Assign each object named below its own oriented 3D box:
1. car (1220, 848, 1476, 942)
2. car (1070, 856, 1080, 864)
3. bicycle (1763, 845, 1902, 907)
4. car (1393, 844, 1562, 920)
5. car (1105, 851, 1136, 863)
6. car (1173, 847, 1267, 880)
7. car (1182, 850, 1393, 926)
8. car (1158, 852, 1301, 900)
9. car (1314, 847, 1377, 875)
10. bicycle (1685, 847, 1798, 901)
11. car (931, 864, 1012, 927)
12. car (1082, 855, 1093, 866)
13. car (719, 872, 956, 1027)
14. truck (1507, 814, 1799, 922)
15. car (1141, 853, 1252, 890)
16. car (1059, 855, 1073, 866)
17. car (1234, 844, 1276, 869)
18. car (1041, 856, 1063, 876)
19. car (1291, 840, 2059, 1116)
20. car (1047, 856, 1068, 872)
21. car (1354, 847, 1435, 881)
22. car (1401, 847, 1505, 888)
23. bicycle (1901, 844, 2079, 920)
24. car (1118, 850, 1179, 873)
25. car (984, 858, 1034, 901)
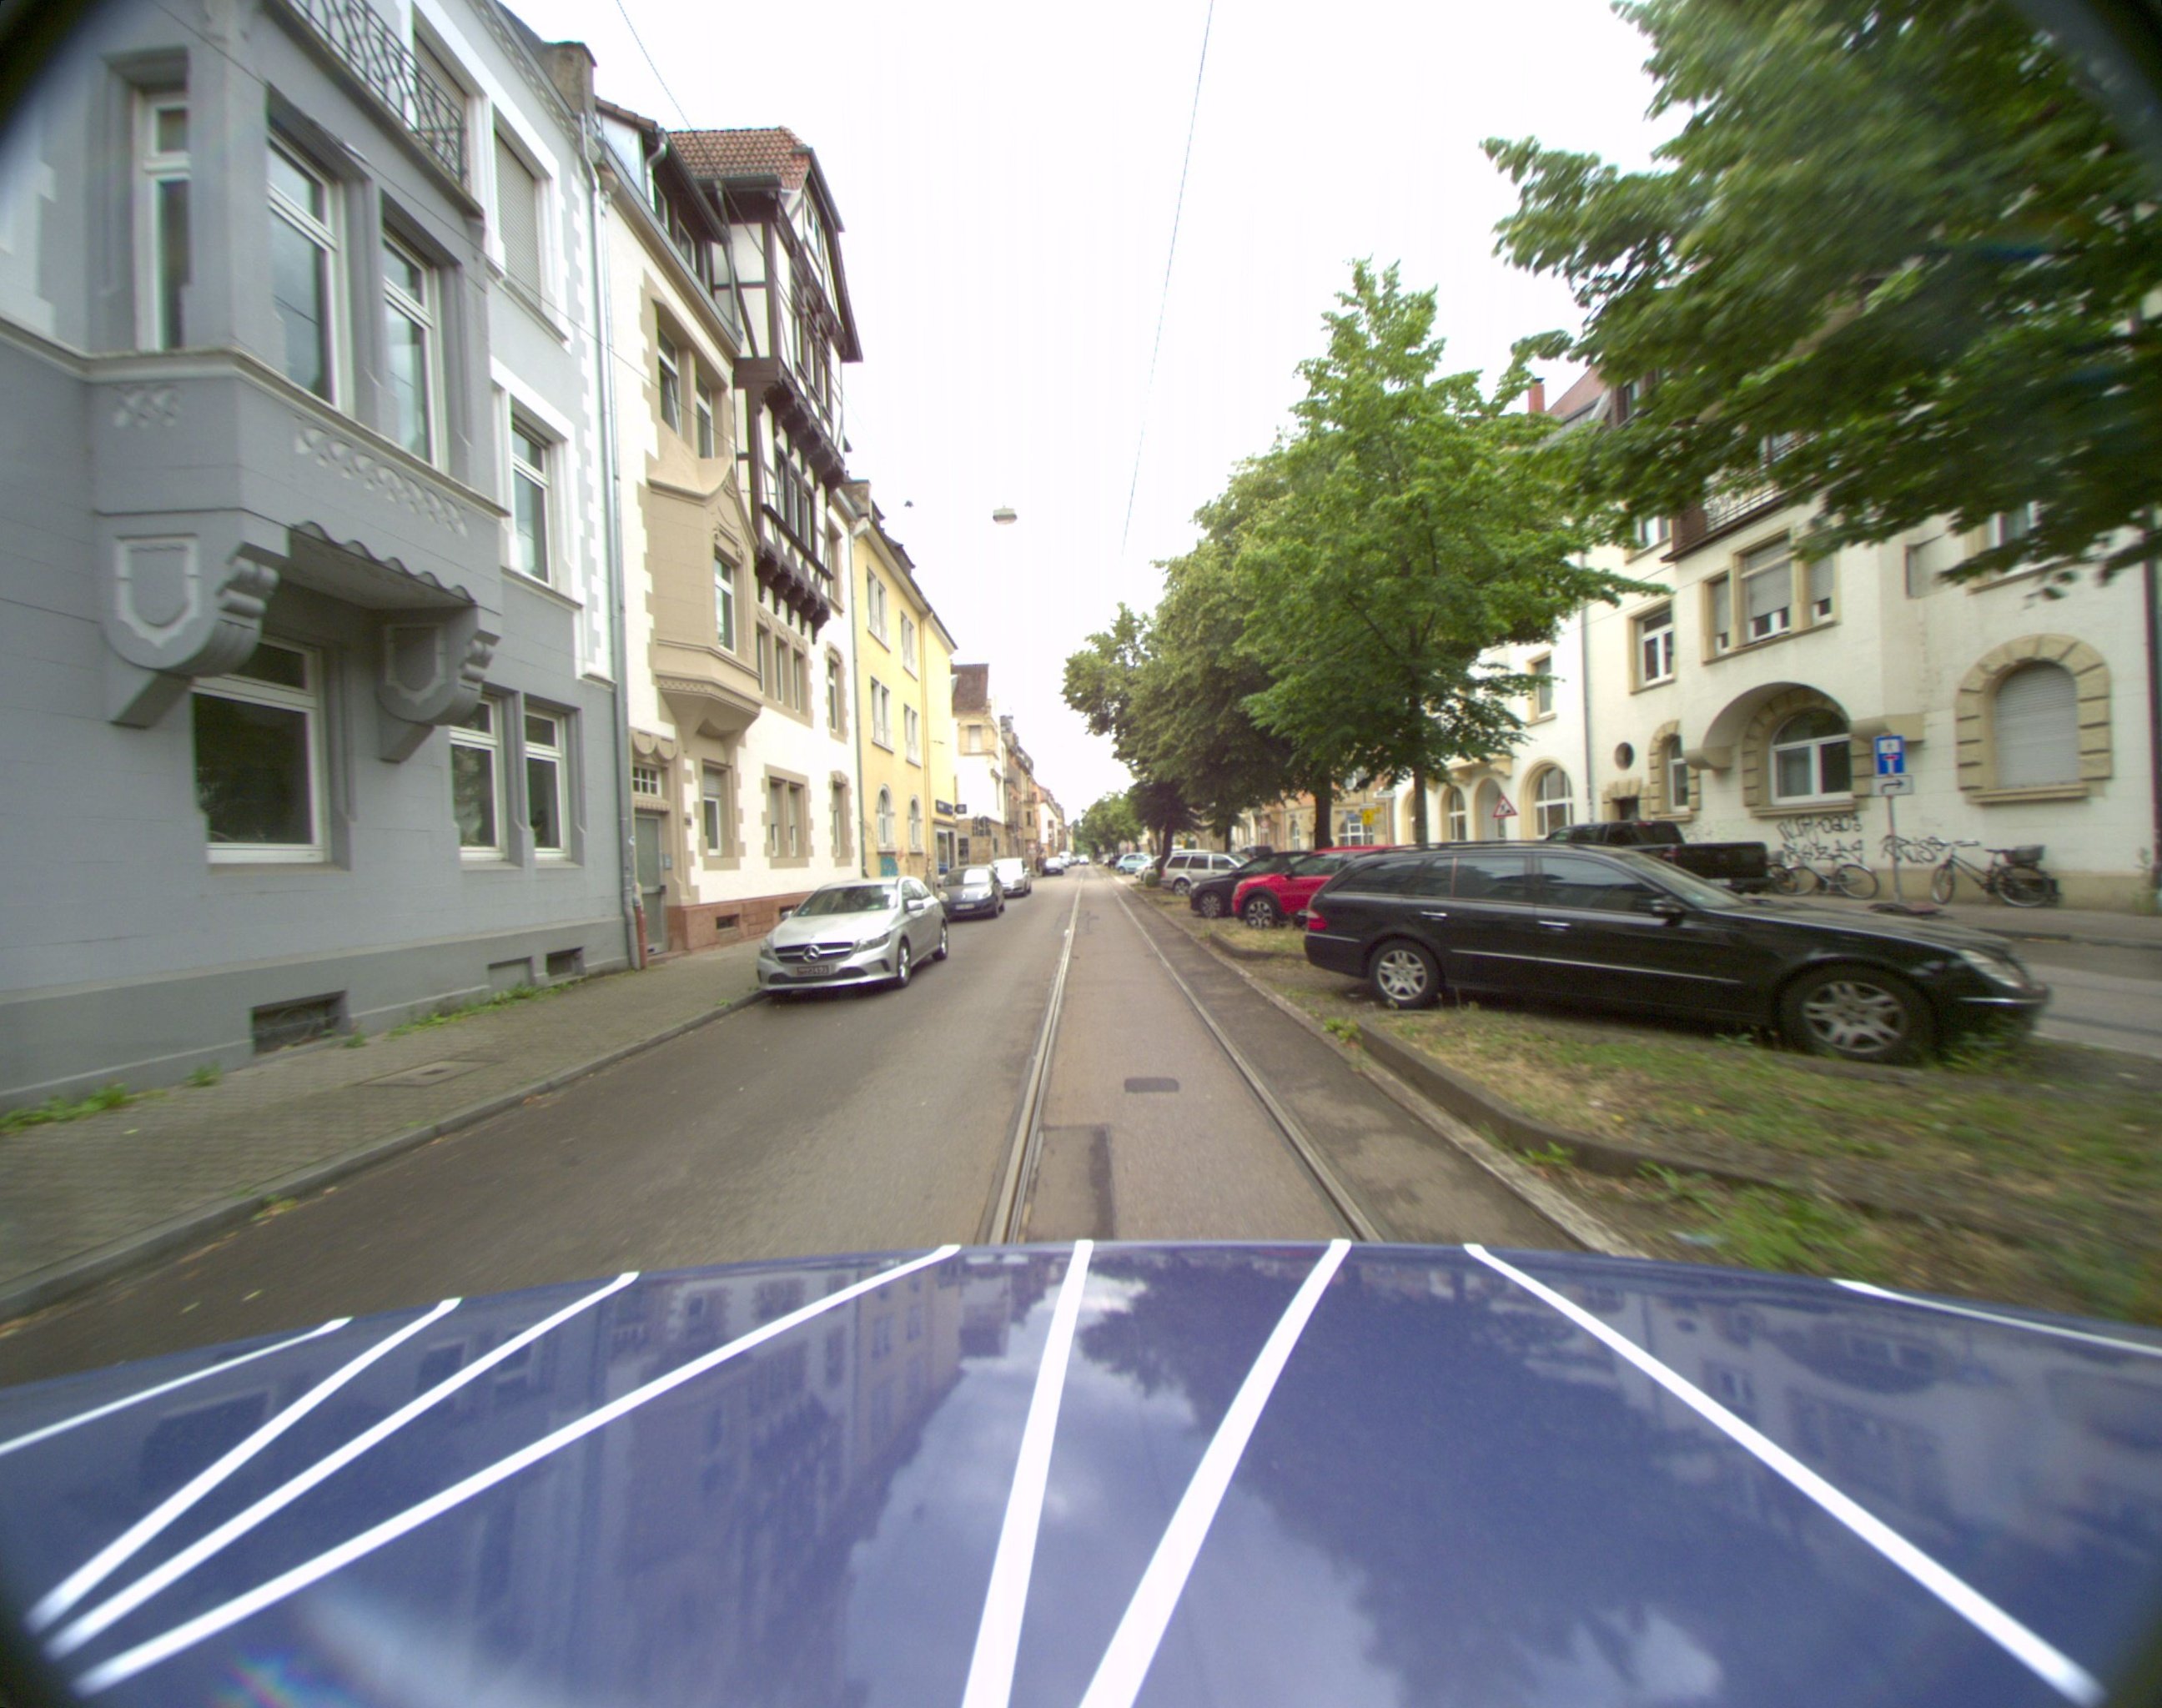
[{"bbox_3d":[4.510,0.664,13.153,3.727,1.380,1.793,-3,-1,44],"label":"car"},{"bbox_3d":[-1.144,1.190,146.319,1.824,1.477,4.000,-3,0,0],"label":"car"},{"bbox_3d":[14.995,0.424,15.236,0.613,1.120,1.914,-5,0,-11],"label":"bicycle"},{"bbox_3d":[9.197,0.586,18.135,1.763,1.500,4.695,-3,0,3],"label":"car"},{"bbox_3d":[5.628,0.429,107.725,3.991,1.602,1.901,-2,-1,22],"label":"car"},{"bbox_3d":[6.496,0.477,35.541,3.991,1.407,1.901,-2,-1,21],"label":"car"},{"bbox_3d":[4.413,0.705,16.581,3.989,1.458,1.902,-3,-1,44],"label":"car"},{"bbox_3d":[4.653,0.706,24.083,3.989,1.407,1.902,-2,-1,39],"label":"car"},{"bbox_3d":[12.163,0.311,35.135,1.639,1.169,3.380,-3,0,-1],"label":"car"},{"bbox_3d":[14.984,0.445,17.304,0.613,1.120,1.914,-5,0,-11],"label":"bicycle"},{"bbox_3d":[-3.079,1.114,22.157,1.635,1.478,4.213,-5,0,0],"label":"car"},{"bbox_3d":[1.180,1.300,146.220,1.998,2.002,3.999,-2,1,0],"label":"car"},{"bbox_3d":[-3.111,1.144,10.736,1.793,1.504,4.214,-5,0,1],"label":"car"},{"bbox_3d":[11.934,0.251,16.643,2.150,1.845,6.065,-3,0,4],"label":"truck"},{"bbox_3d":[4.661,0.740,30.884,3.989,1.407,1.902,-2,-1,39],"label":"car"},{"bbox_3d":[-2.204,0.874,110.544,1.824,1.477,4.000,-3,0,0],"label":"car"},{"bbox_3d":[12.200,0.161,53.486,1.796,1.596,4.512,-3,0,-1],"label":"car"},{"bbox_3d":[-2.528,1.019,67.683,1.676,1.519,4.212,-3,1,0],"label":"car"},{"bbox_3d":[4.354,0.731,6.416,1.889,1.458,4.596,-3,0,-44],"label":"car"},{"bbox_3d":[-2.346,0.987,76.274,1.824,1.477,4.000,-3,0,0],"label":"car"},{"bbox_3d":[12.098,0.364,29.527,1.639,1.169,3.380,-3,0,-1],"label":"car"},{"bbox_3d":[12.058,0.408,24.845,1.639,1.169,3.380,-3,0,-1],"label":"car"},{"bbox_3d":[15.067,0.436,12.687,0.612,1.120,1.916,-5,0,0],"label":"bicycle"},{"bbox_3d":[4.921,0.557,55.669,3.989,1.602,1.902,-2,-1,31],"label":"car"},{"bbox_3d":[-2.967,1.012,32.220,1.635,1.519,4.212,-3,1,0],"label":"car"}]
